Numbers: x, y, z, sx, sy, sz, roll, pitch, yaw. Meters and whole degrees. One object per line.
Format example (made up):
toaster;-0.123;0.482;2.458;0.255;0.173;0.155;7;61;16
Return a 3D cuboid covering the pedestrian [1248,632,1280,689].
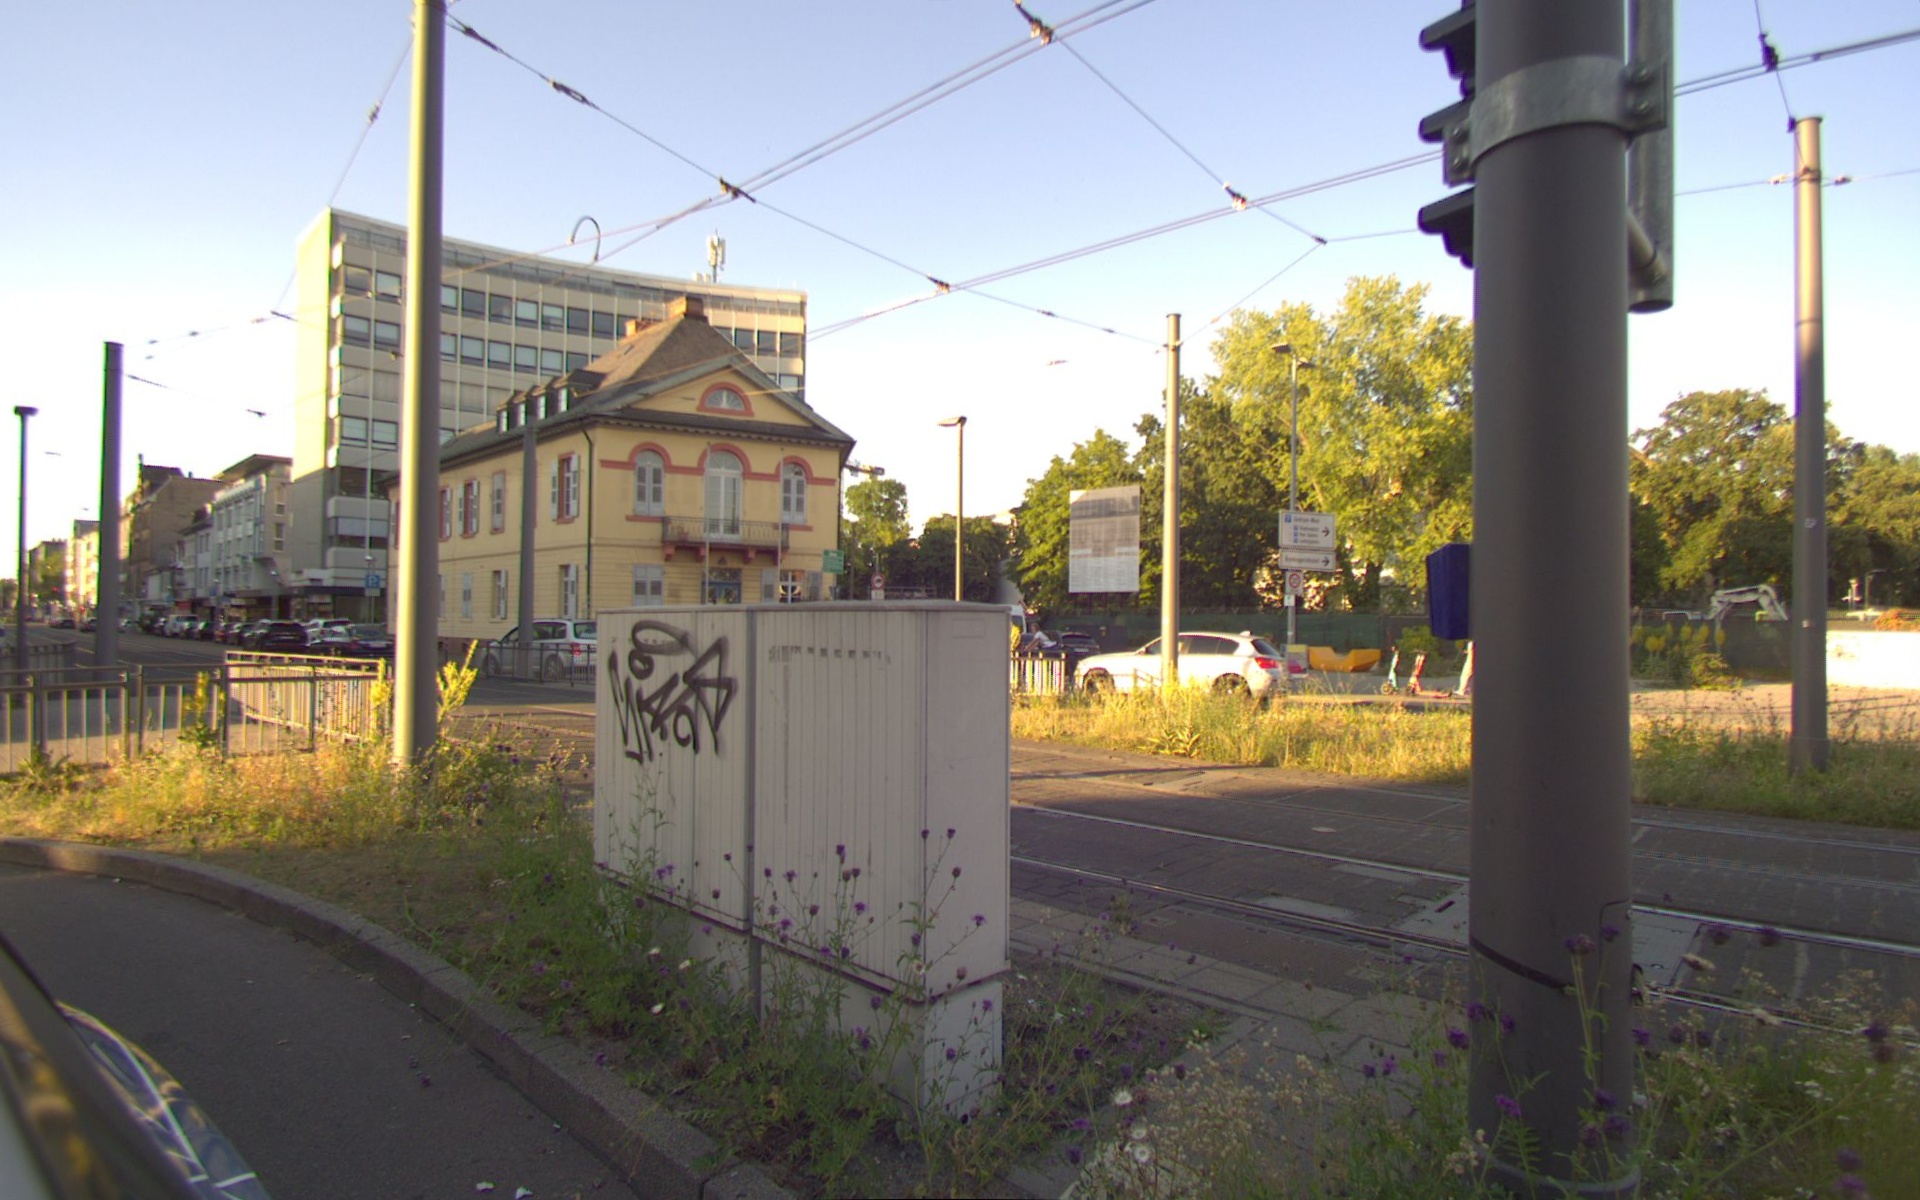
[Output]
pedestrian;8.723;1.725;29.014;0.679;1.626;0.597;2;-3;-40

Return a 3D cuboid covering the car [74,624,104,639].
car;-91.159;3.261;105.865;3.998;1.519;1.824;-1;-3;41

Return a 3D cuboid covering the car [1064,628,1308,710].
car;4.392;1.291;19.923;4.325;1.421;1.894;-1;-2;33

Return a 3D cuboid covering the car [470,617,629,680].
car;-11.230;1.291;27.663;4.052;1.610;1.823;-1;-2;27

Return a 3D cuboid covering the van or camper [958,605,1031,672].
van or camper;1.441;1.740;45.889;2.050;2.796;6.462;1;-2;-9

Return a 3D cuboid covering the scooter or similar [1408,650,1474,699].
scooter or similar;11.794;1.813;24.827;1.383;1.175;0.461;1;-2;-3

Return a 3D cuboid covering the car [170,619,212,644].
car;-60.930;2.483;80.172;4.000;1.962;1.972;-1;-3;43

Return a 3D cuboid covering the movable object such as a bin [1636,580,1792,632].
movable object such as a bin;31.612;0.333;42.636;1.966;2.029;5.039;1;-2;-18

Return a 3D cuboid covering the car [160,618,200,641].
car;-65.737;2.488;85.305;4.000;1.962;1.972;-1;-3;43

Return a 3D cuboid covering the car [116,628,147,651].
car;-89.111;4.216;108.871;4.000;2.394;1.972;-1;-3;43

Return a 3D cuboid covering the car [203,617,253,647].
car;-49.556;2.146;68.496;4.000;1.962;1.972;-1;-3;43

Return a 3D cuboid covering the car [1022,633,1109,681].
car;3.611;1.954;35.420;1.754;1.555;4.301;1;-2;-12

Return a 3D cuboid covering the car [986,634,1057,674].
car;2.368;2.100;40.002;1.706;1.440;4.483;2;-2;-11

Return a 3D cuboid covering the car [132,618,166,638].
car;-79.614;2.750;99.367;4.000;1.962;1.972;-1;-3;43

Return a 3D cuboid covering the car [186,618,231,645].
car;-56.105;2.355;75.549;4.000;1.962;1.972;-1;-3;43

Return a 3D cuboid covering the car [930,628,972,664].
car;-0.533;2.505;55.755;1.690;1.863;4.030;2;-2;-10

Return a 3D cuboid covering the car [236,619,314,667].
car;-30.183;1.862;44.553;4.120;2.005;1.971;-1;-3;44

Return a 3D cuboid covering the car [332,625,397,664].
car;-27.809;2.057;47.223;3.440;1.721;1.712;-2;-3;44

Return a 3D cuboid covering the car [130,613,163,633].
car;-83.568;2.338;103.906;3.998;2.029;1.973;-1;0;41

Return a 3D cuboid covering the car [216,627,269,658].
car;-45.972;2.680;64.815;4.000;1.915;1.972;-1;-3;43

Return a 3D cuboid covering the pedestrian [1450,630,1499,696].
pedestrian;14.013;1.705;27.592;0.865;1.737;0.830;2;-2;-6

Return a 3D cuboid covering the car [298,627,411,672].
car;-20.597;1.640;34.372;4.655;1.439;1.991;-1;-3;42

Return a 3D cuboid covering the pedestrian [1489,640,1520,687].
pedestrian;20.022;2.320;37.212;0.810;1.678;0.765;2;-3;-42

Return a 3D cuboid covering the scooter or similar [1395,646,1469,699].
scooter or similar;11.811;1.806;25.320;1.629;1.302;0.461;1;-2;-3

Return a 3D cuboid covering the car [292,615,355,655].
car;-31.634;1.704;50.256;3.807;1.721;1.712;4;1;44

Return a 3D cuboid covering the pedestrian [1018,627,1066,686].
pedestrian;2.126;1.458;26.323;1.028;1.514;1.006;1;-2;-8
